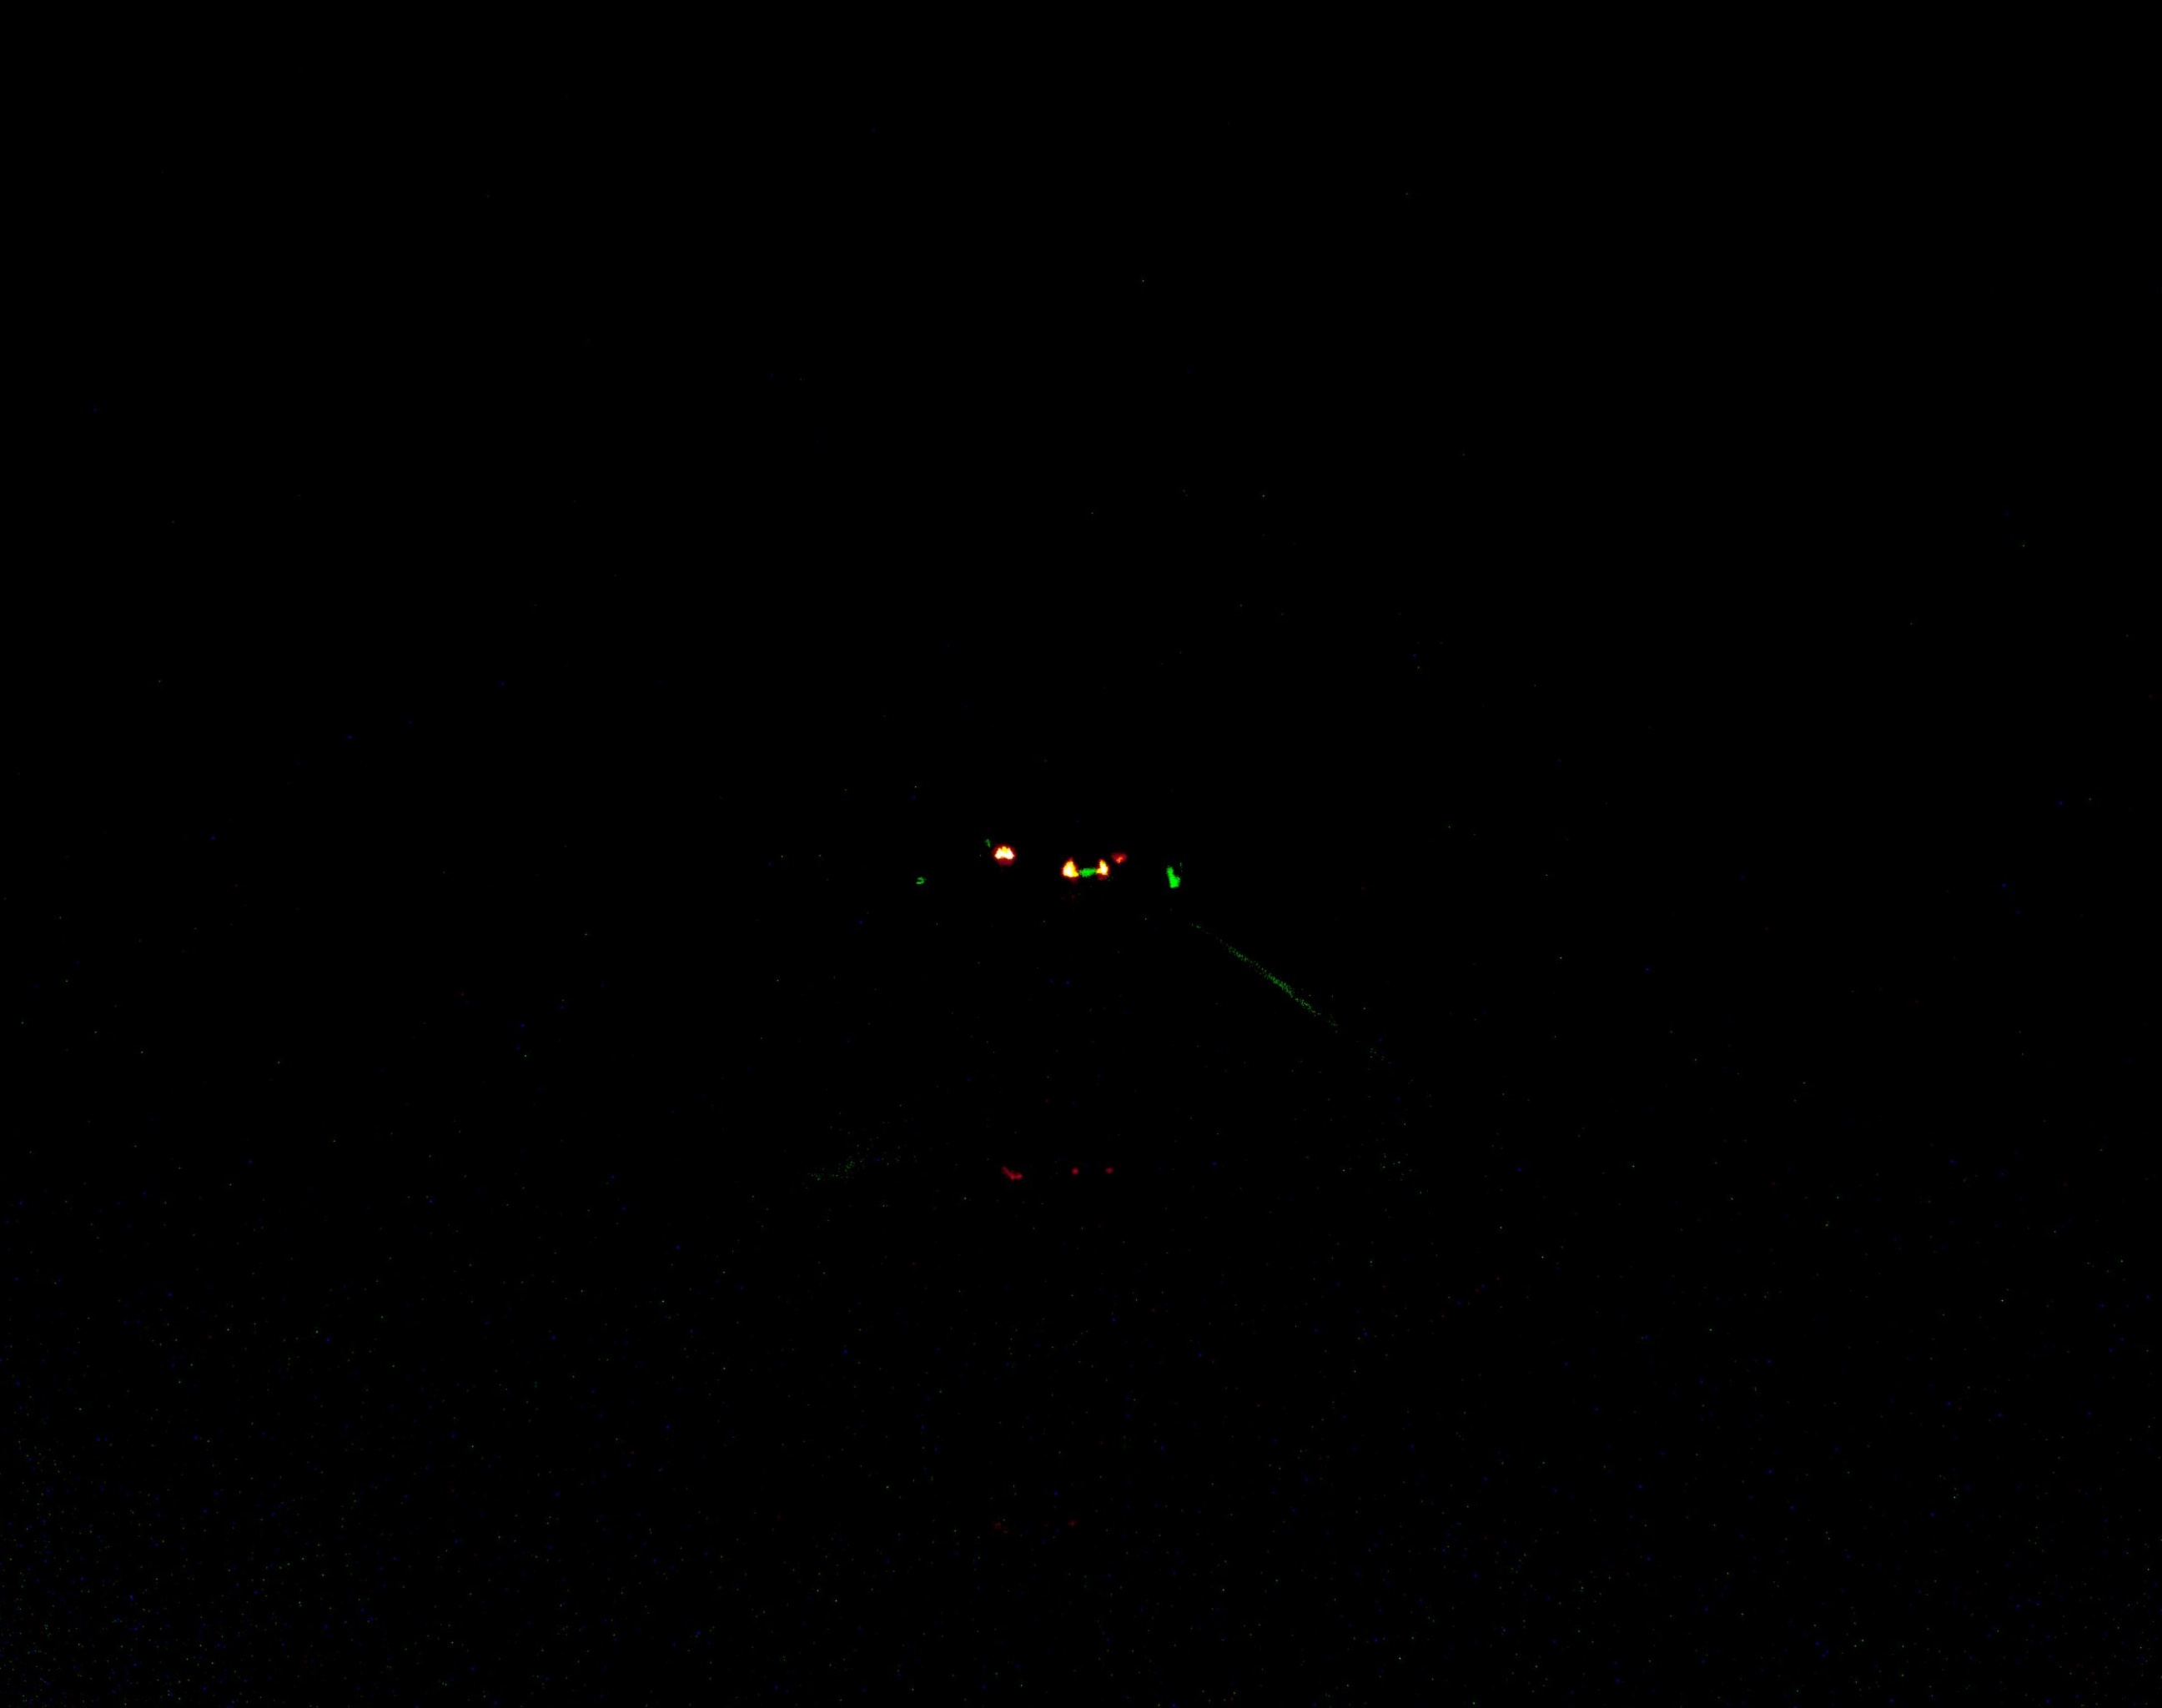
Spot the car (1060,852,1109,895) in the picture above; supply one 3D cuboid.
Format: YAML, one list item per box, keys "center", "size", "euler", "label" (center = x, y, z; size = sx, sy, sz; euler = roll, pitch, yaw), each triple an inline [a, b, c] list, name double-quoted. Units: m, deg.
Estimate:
- center: [0.125, 0.794, 35.367]
  size: [1.987, 1.628, 4.983]
  euler: [-1, 1, 0]
  label: "car"
